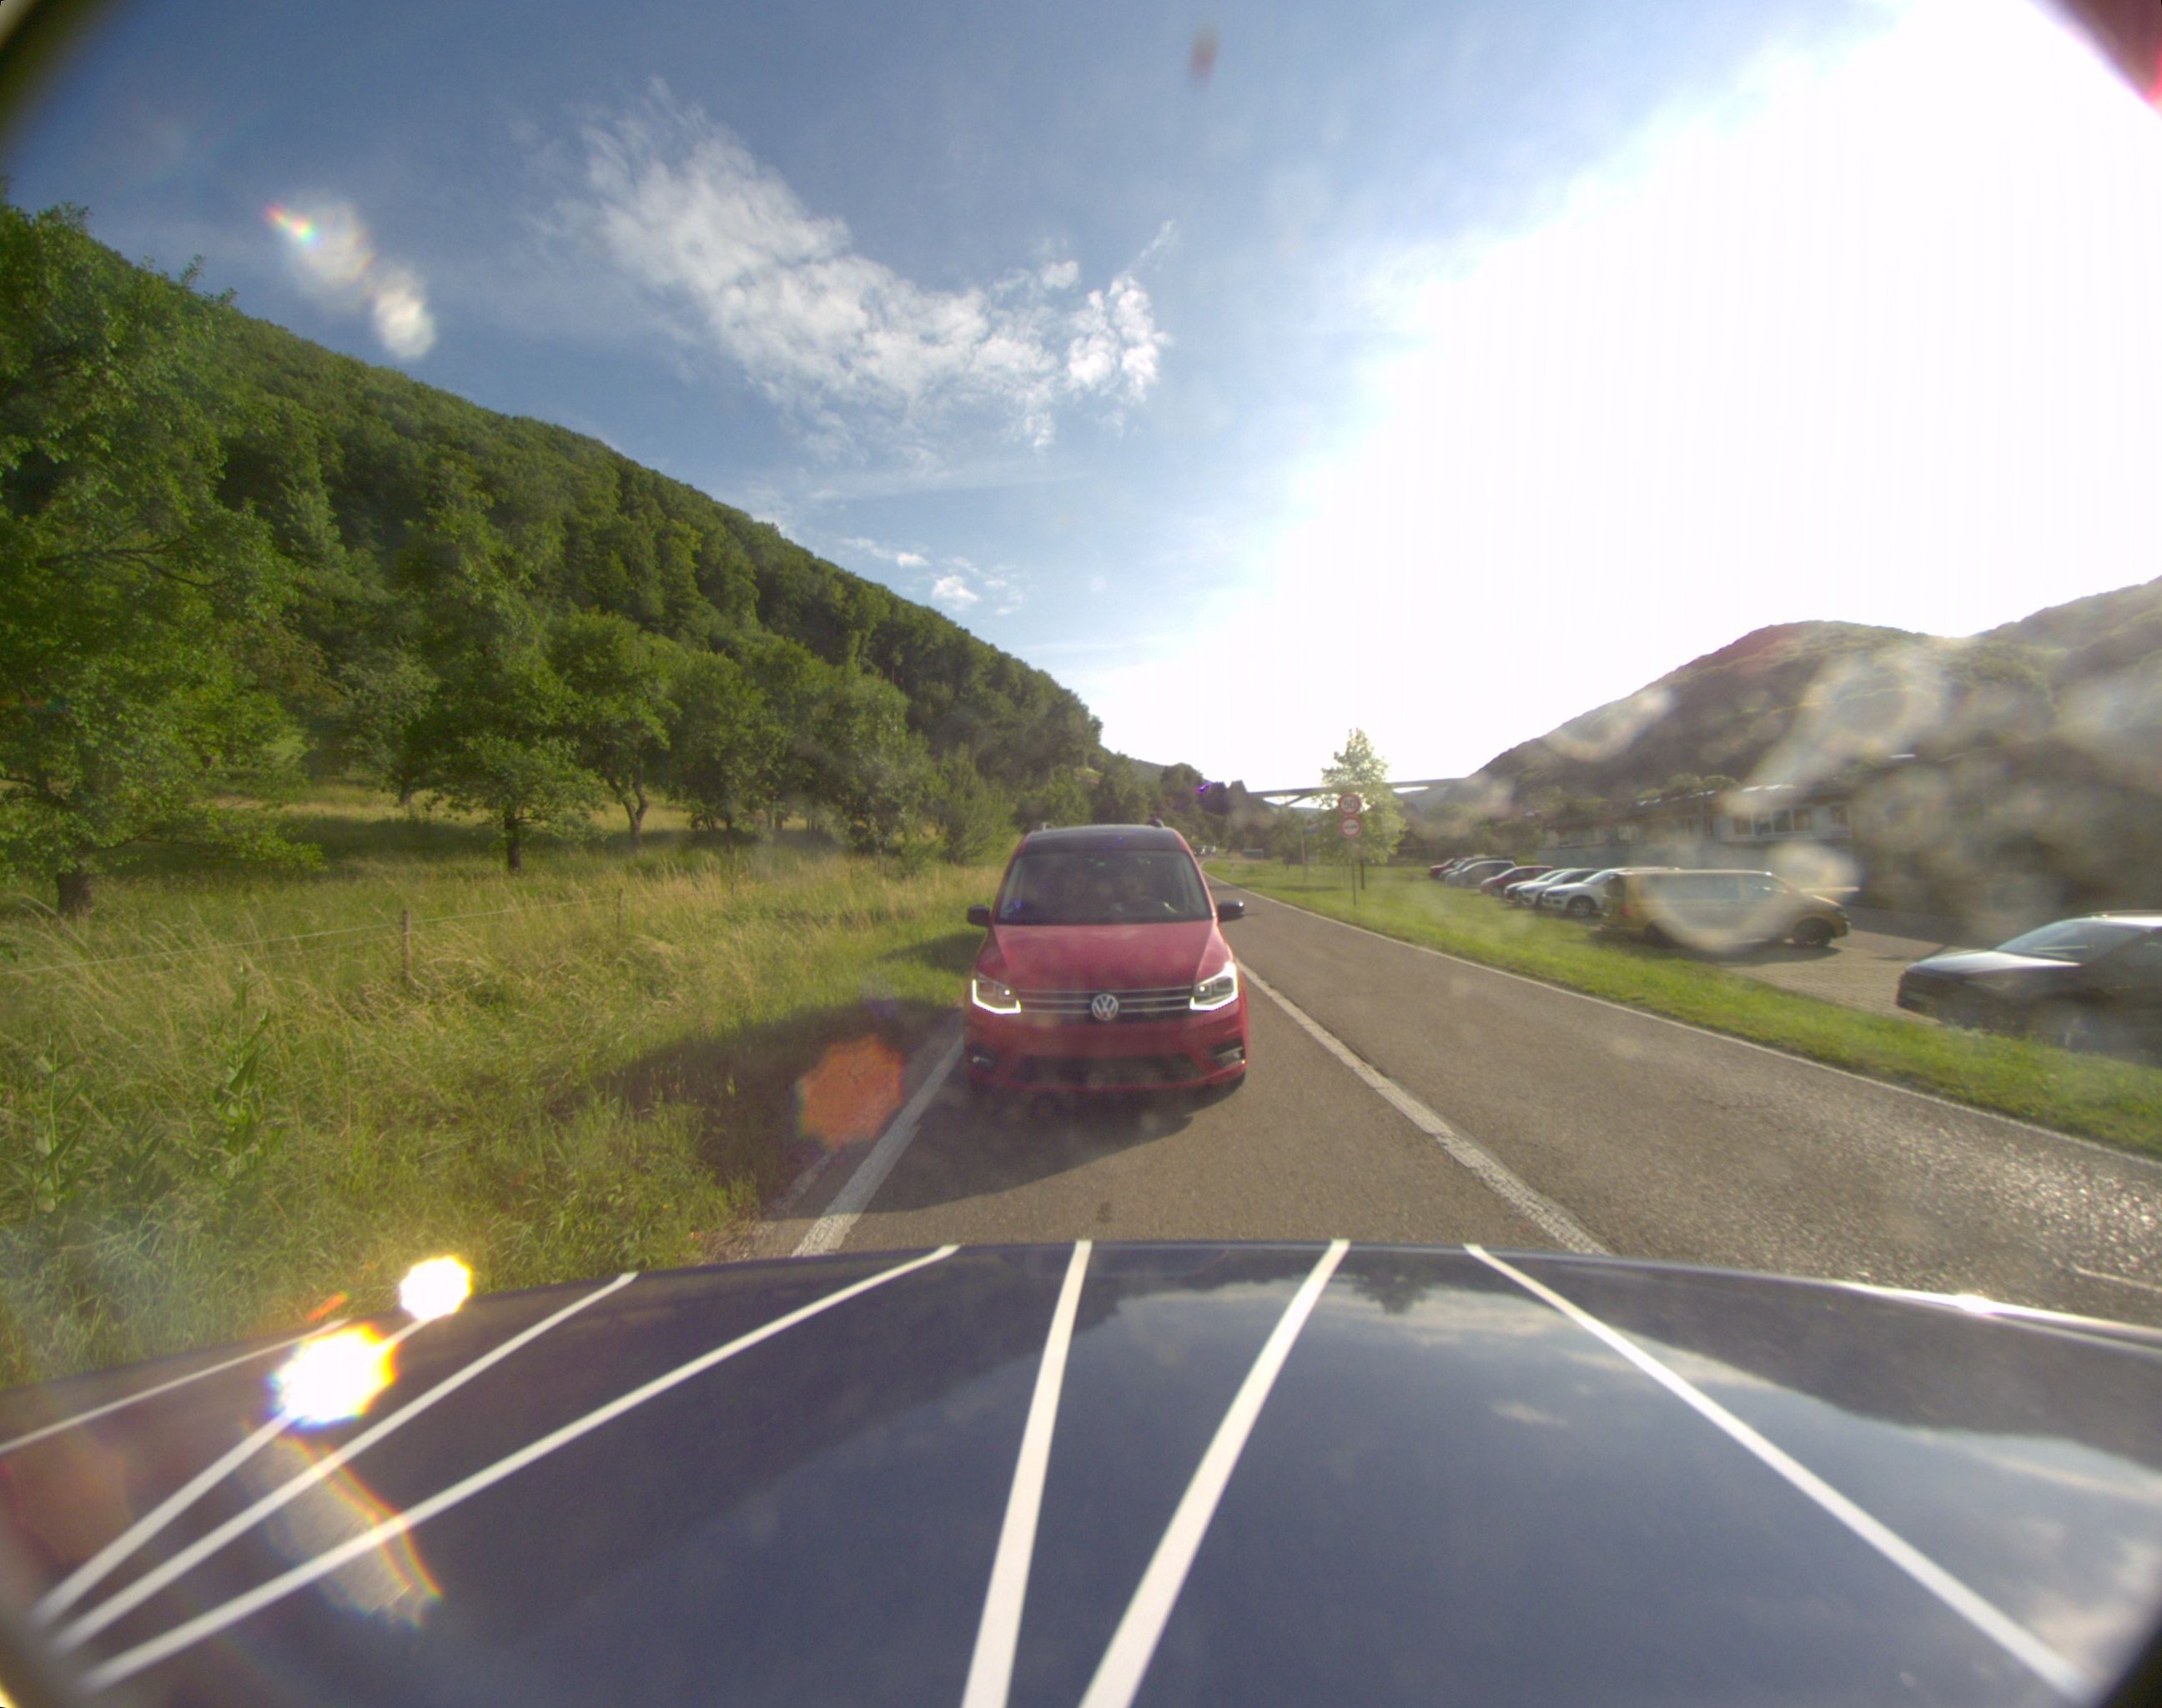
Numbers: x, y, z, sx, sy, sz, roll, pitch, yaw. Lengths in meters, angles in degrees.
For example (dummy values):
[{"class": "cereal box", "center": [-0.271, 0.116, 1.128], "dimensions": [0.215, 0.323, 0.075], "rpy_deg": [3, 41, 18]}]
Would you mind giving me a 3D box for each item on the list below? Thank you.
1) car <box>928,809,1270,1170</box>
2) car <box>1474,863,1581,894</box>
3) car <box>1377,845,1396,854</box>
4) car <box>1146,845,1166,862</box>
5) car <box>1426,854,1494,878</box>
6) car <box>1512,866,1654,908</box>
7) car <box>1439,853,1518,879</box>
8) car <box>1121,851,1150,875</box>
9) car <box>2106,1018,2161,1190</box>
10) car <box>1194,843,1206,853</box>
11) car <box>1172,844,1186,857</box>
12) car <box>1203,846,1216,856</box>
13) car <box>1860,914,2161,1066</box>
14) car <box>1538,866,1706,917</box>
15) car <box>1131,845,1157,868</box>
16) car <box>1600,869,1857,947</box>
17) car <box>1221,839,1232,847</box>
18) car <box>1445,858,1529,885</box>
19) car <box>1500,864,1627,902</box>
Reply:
[{"class": "car", "center": [0.123, 0.731, 6.180], "dimensions": [1.747, 1.849, 4.348], "rpy_deg": [-2, 0, 1]}, {"class": "car", "center": [22.701, 1.241, 38.815], "dimensions": [4.437, 1.443, 2.003], "rpy_deg": [-1, 0, 20]}, {"class": "car", "center": [55.580, -0.846, 138.228], "dimensions": [1.994, 1.518, 4.783], "rpy_deg": [-1, 0, 38]}, {"class": "car", "center": [7.945, -0.048, 80.689], "dimensions": [1.911, 1.675, 4.003], "rpy_deg": [-2, -1, 8]}, {"class": "car", "center": [28.889, 0.927, 58.097], "dimensions": [4.437, 1.709, 2.003], "rpy_deg": [-1, 0, 18]}, {"class": "car", "center": [20.198, 1.317, 30.785], "dimensions": [4.437, 1.577, 2.003], "rpy_deg": [-1, 0, 20]}, {"class": "car", "center": [27.600, 0.838, 52.923], "dimensions": [4.665, 1.752, 2.003], "rpy_deg": [-1, 0, 18]}, {"class": "car", "center": [3.630, 0.562, 50.369], "dimensions": [1.798, 1.464, 4.285], "rpy_deg": [-2, 0, 5]}, {"class": "car", "center": [12.090, 2.327, 5.952], "dimensions": [4.645, 1.488, 1.915], "rpy_deg": [-1, 0, 15]}, {"class": "car", "center": [21.128, -1.003, 134.504], "dimensions": [1.677, 1.637, 3.350], "rpy_deg": [-2, 0, 14]}, {"class": "car", "center": [14.214, -0.517, 110.059], "dimensions": [1.797, 1.725, 4.287], "rpy_deg": [-2, 0, 11]}, {"class": "car", "center": [25.265, -0.624, 149.165], "dimensions": [1.996, 1.706, 4.005], "rpy_deg": [-3, -2, 15]}, {"class": "car", "center": [13.535, 1.702, 9.924], "dimensions": [4.289, 1.628, 1.915], "rpy_deg": [-3, 0, 15]}, {"class": "car", "center": [19.323, 1.320, 27.387], "dimensions": [4.545, 1.691, 2.003], "rpy_deg": [-1, 0, 20]}, {"class": "car", "center": [5.377, 0.249, 64.826], "dimensions": [1.997, 1.838, 4.002], "rpy_deg": [-2, 0, 7]}, {"class": "car", "center": [16.499, 1.327, 19.703], "dimensions": [4.653, 1.802, 2.003], "rpy_deg": [-1, 0, 20]}, {"class": "car", "center": [33.783, -2.527, 176.338], "dimensions": [1.909, 1.893, 4.004], "rpy_deg": [-2, 1, 16]}, {"class": "car", "center": [25.803, 1.105, 48.462], "dimensions": [4.437, 1.573, 2.003], "rpy_deg": [-2, 0, 18]}, {"class": "car", "center": [21.408, 1.264, 33.939], "dimensions": [4.437, 1.573, 2.003], "rpy_deg": [-1, 0, 18]}]
